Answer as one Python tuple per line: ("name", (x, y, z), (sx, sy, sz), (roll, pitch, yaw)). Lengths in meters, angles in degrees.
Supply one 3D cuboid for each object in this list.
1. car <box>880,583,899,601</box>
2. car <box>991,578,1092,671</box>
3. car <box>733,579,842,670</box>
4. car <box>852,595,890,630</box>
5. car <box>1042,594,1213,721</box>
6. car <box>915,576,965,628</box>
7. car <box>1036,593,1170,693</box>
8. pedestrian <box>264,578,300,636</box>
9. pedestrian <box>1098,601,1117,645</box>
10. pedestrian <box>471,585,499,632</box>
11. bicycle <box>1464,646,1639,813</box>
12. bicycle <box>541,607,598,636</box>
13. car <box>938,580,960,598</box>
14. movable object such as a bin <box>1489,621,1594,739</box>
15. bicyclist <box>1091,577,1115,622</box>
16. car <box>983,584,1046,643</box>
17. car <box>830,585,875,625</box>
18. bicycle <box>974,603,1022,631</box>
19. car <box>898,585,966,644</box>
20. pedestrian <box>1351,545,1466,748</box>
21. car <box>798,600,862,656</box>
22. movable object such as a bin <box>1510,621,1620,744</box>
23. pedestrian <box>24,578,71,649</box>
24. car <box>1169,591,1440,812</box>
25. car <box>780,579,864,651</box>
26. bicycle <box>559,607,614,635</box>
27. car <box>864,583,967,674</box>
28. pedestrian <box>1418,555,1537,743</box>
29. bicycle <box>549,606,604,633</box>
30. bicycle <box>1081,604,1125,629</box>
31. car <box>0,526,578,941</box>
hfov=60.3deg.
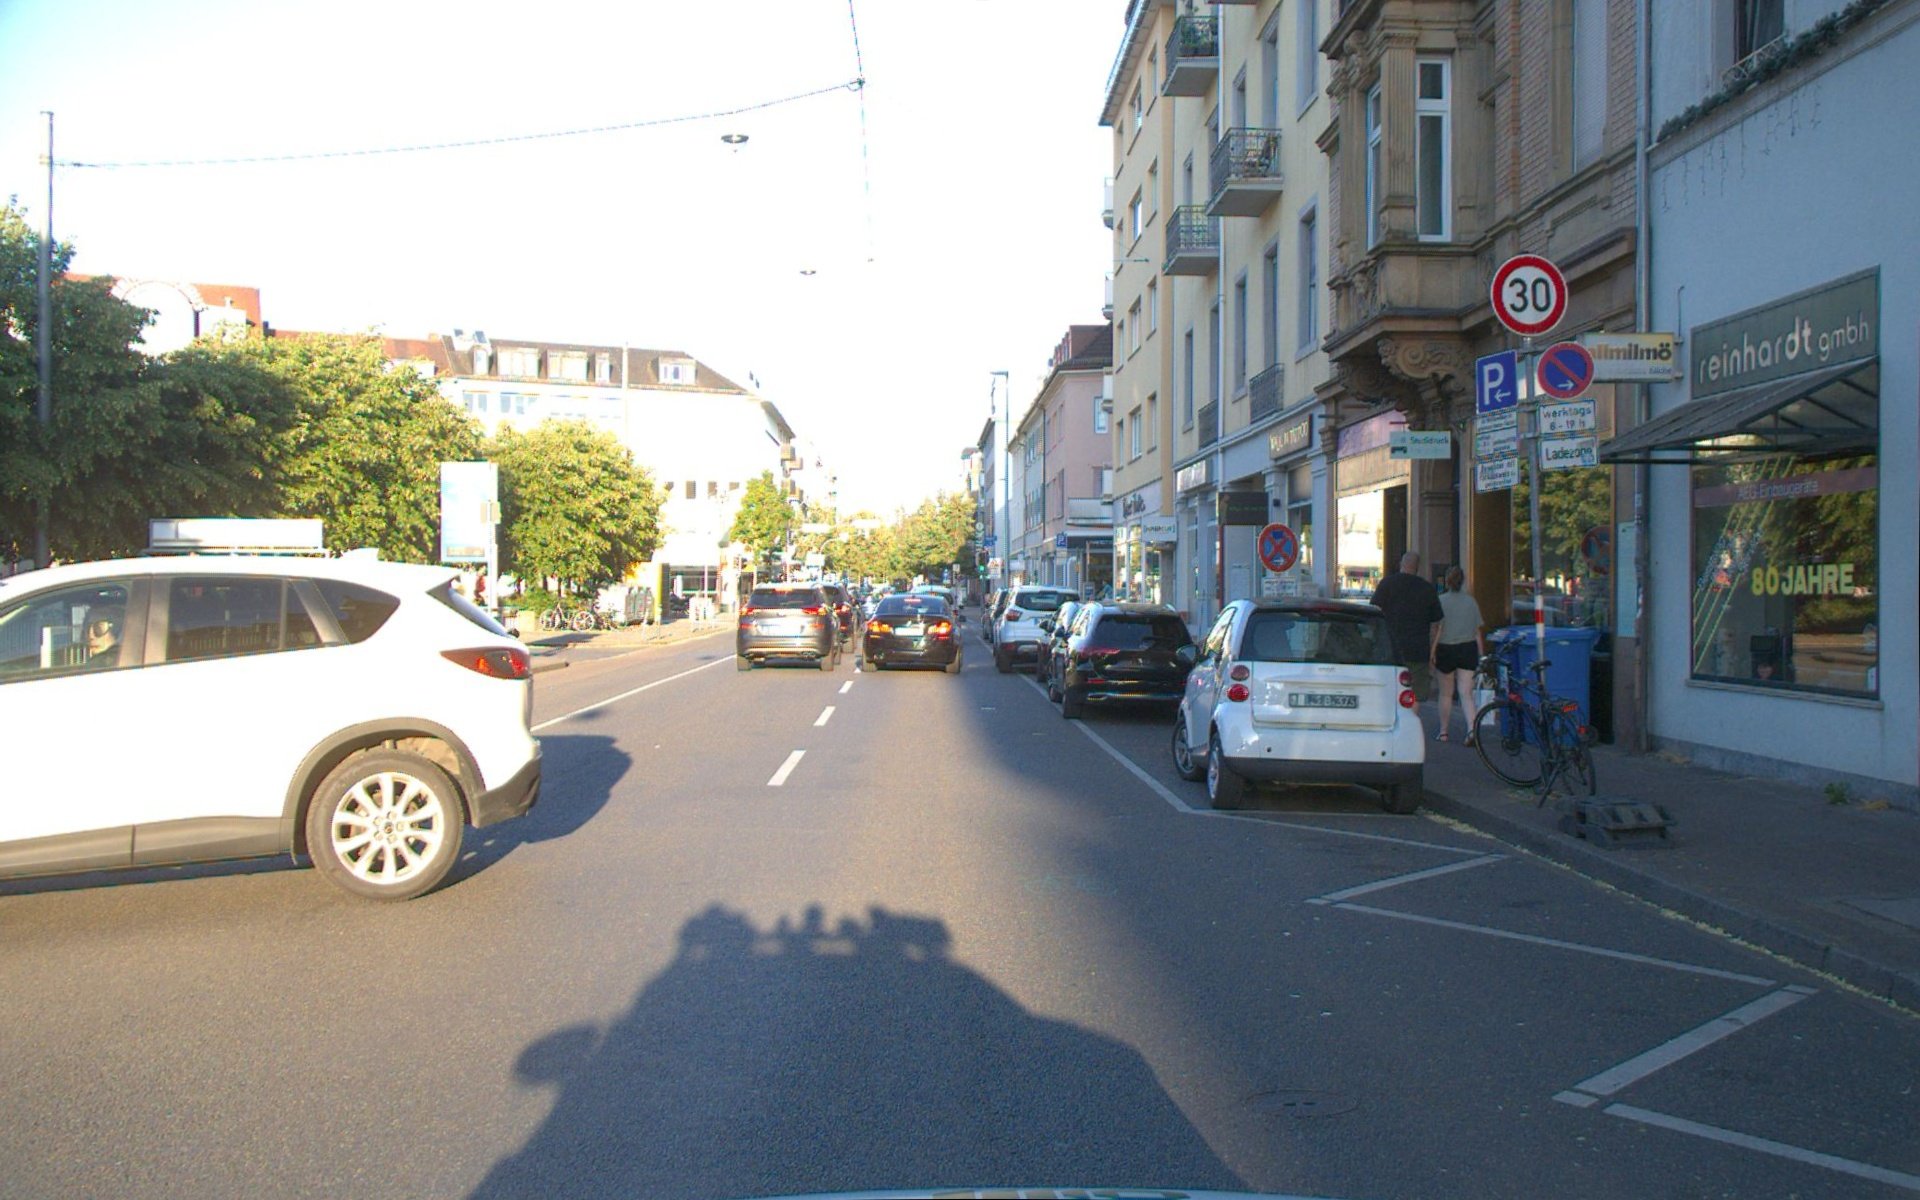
("car", (-6.635, -0.768, 155.575), (1.744, 1.574, 3.998), (0, 1, -3))
("car", (1.568, 0.463, 33.213), (1.695, 1.679, 4.283), (2, 0, -1))
("car", (-3.333, 0.435, 32.679), (1.858, 1.678, 4.102), (0, 0, -2))
("car", (-4.163, 0.572, 77.609), (1.744, 1.574, 3.998), (0, 1, -3))
("car", (2.126, 0.691, 22.143), (1.695, 1.473, 4.523), (2, 0, -1))
("car", (-0.837, 0.071, 69.195), (1.953, 2.048, 3.999), (2, 0, -1))
("car", (2.271, 0.654, 27.297), (1.695, 1.473, 4.473), (2, 0, -1))
("pedestrian", (-19.467, 0.197, 47.486), (0.773, 1.622, 0.568), (1, 0, 18))
("pedestrian", (6.137, 0.955, 68.874), (0.686, 1.843, 0.634), (1, 0, -5))
("pedestrian", (-16.876, 0.296, 58.752), (0.773, 1.622, 0.568), (1, 0, 18))
("bicycle", (4.212, 0.883, 11.920), (0.494, 1.033, 1.946), (0, 1, -2))
("bicycle", (-13.081, 0.723, 55.414), (1.790, 0.868, 0.483), (3, 0, -6))
("car", (-0.990, -1.026, 151.660), (1.858, 1.608, 3.850), (-1, 1, -2))
("movable object such as a bin", (5.672, 0.769, 16.156), (0.759, 1.089, 0.618), (-2, 0, -2))
("bicyclist", (5.786, -0.022, 67.022), (0.814, 1.808, 0.608), (1, 0, 25))
("car", (1.628, 0.410, 50.707), (1.695, 1.681, 3.969), (2, 0, -1))
("car", (-4.359, 0.190, 67.767), (1.744, 1.574, 3.998), (0, 1, -3))
("bicycle", (1.394, 0.615, 60.658), (1.729, 0.984, 0.490), (1, 0, 3))
("car", (-0.850, 0.389, 48.212), (1.858, 1.608, 3.998), (1, 0, -2))
("pedestrian", (4.286, 0.421, 15.867), (0.757, 1.859, 1.010), (-2, 1, -2))
("car", (-3.850, 0.802, 49.540), (1.744, 1.574, 3.998), (0, 1, -3))
("movable object such as a bin", (5.665, 0.761, 15.520), (0.759, 1.089, 0.618), (-2, 0, -2))
("pedestrian", (-21.153, 0.298, 38.349), (0.663, 1.622, 0.677), (1, 0, 18))
("car", (2.690, 0.733, 13.544), (1.500, 1.563, 3.283), (1, 0, 0))
("car", (-3.361, 0.335, 40.903), (1.858, 1.678, 4.102), (0, 0, -2))
("bicycle", (-12.915, 0.716, 57.223), (1.790, 0.868, 0.483), (3, 0, -6))
("car", (-0.885, 0.510, 32.303), (1.858, 1.608, 3.998), (1, 0, -2))
("pedestrian", (5.003, 0.453, 16.053), (0.757, 1.741, 1.041), (-2, 1, -2))
("bicycle", (-13.472, 0.685, 58.116), (1.790, 0.868, 0.483), (3, 0, -6))
("bicycle", (5.787, 0.673, 67.035), (1.731, 0.984, 0.490), (1, 0, 26))
("car", (-4.299, 0.566, 8.161), (4.397, 1.792, 1.983), (-1, 0, -26))
